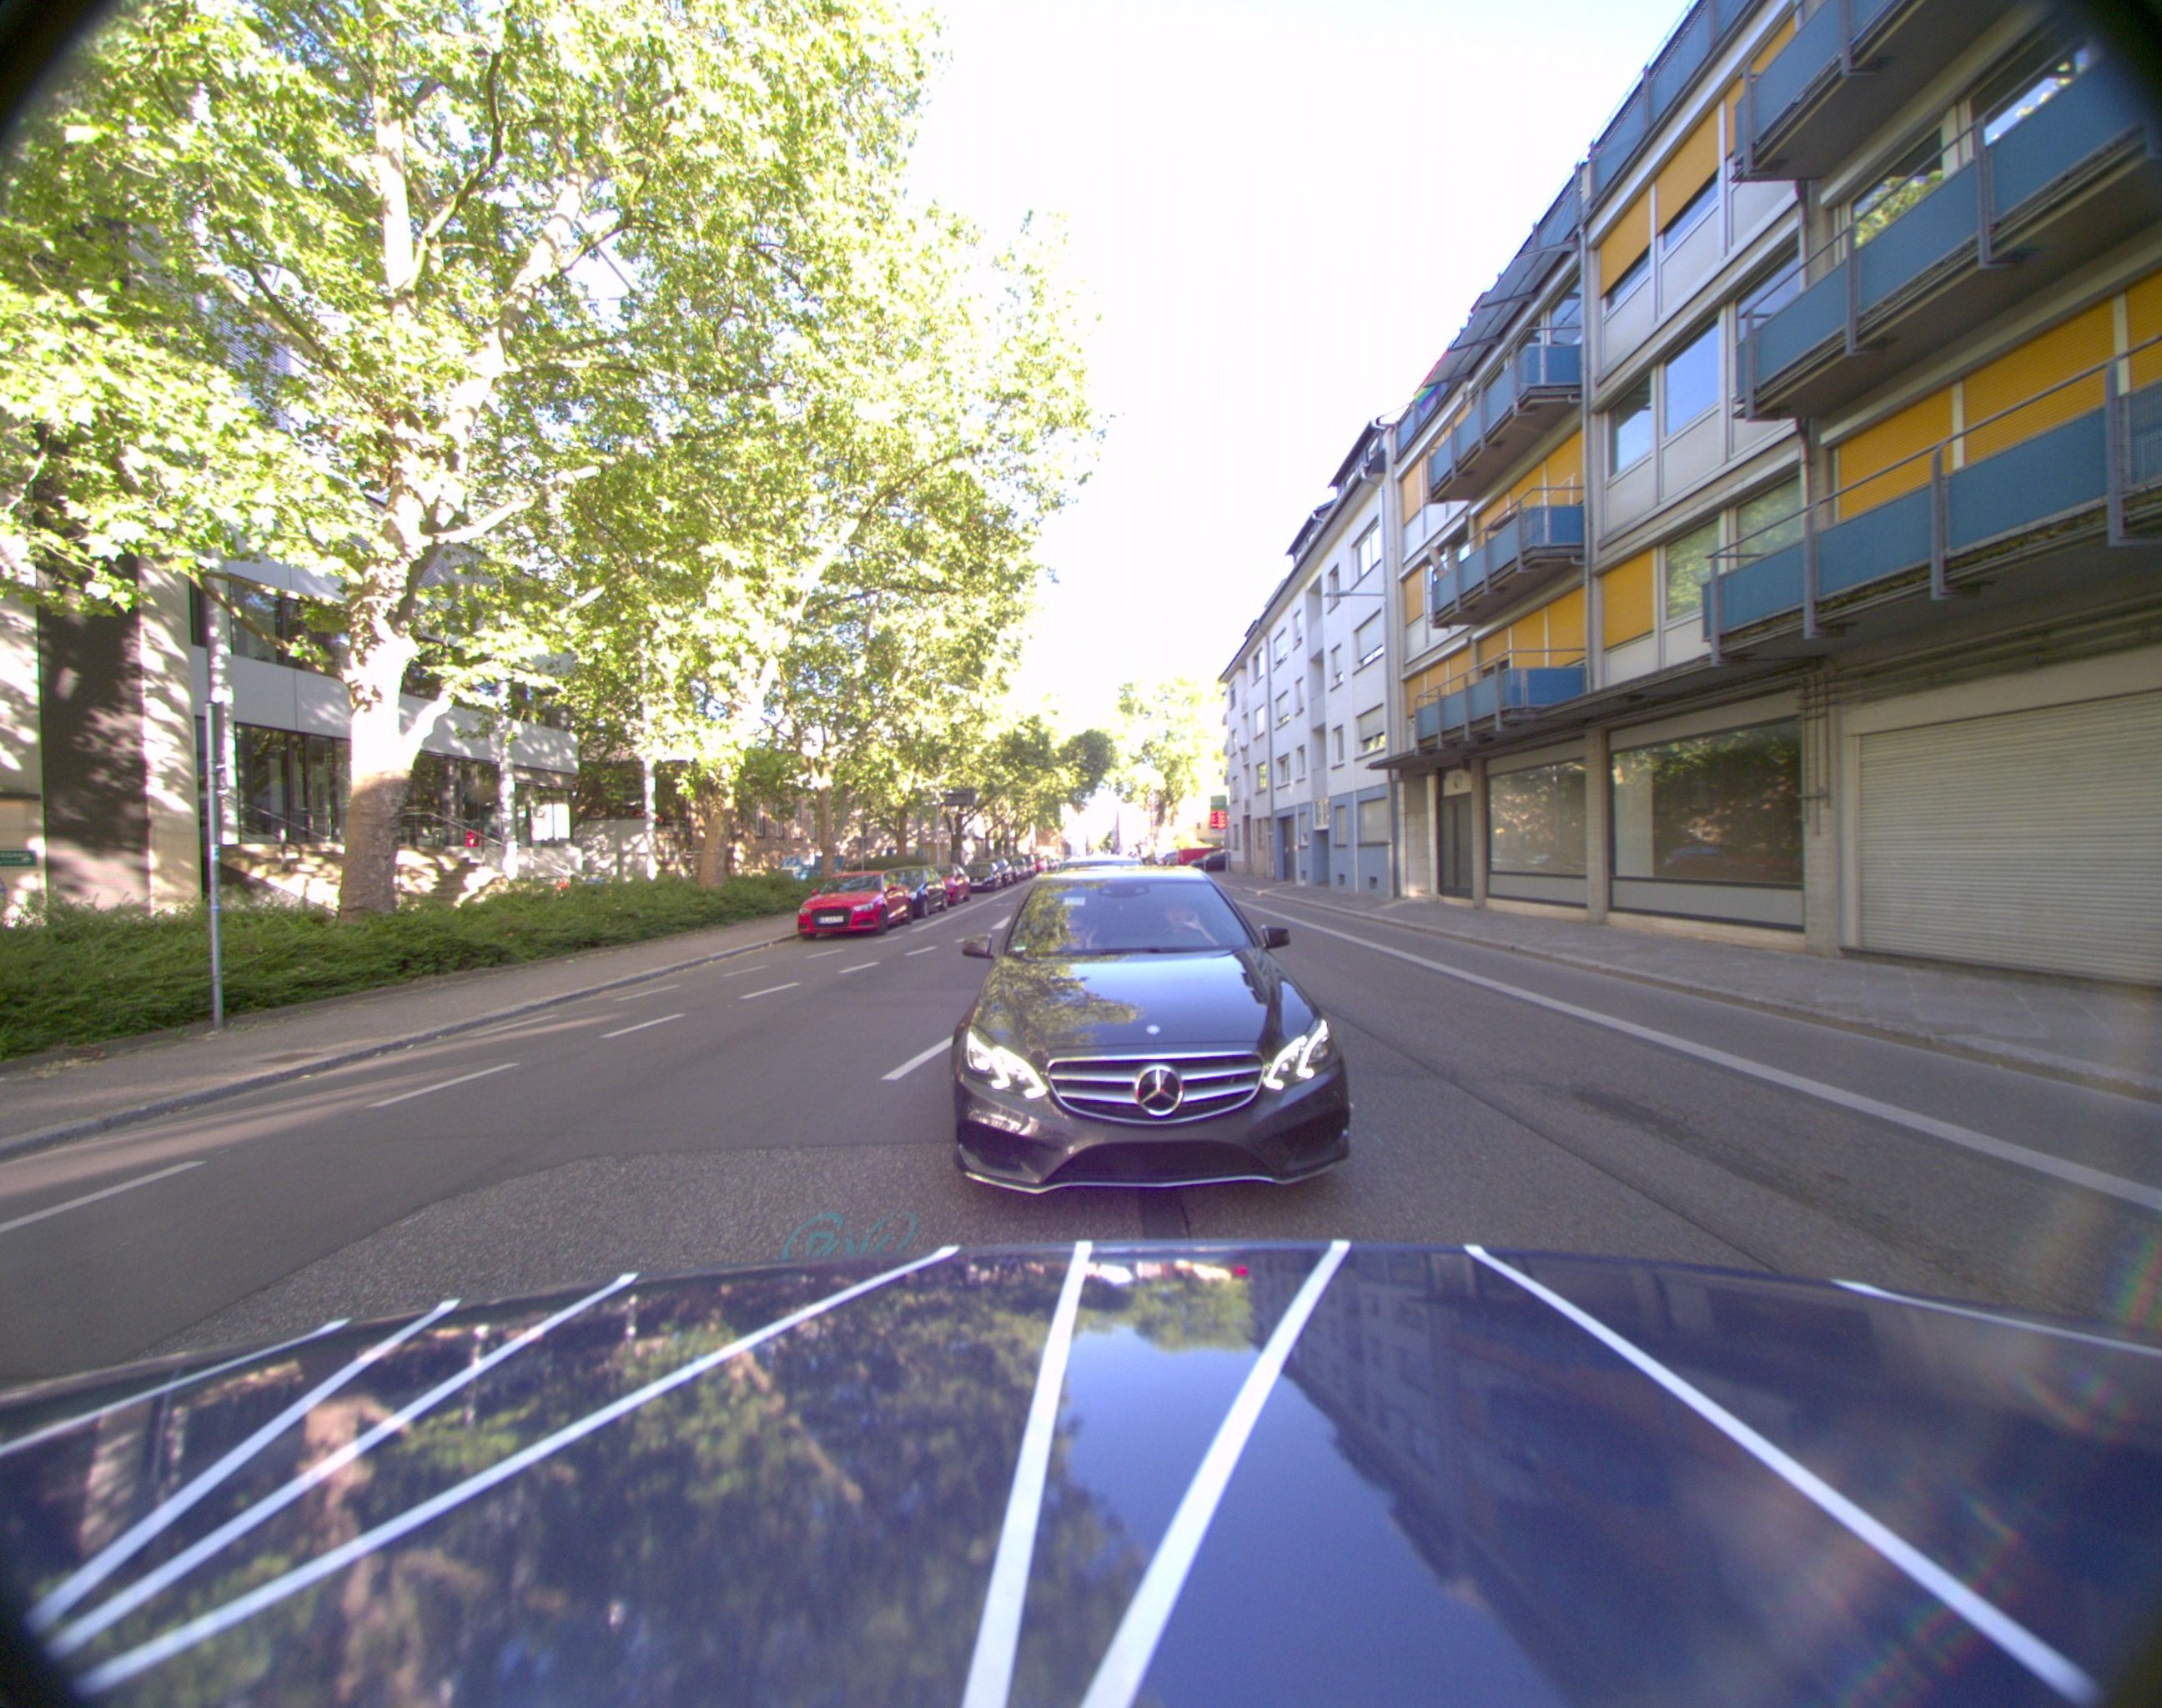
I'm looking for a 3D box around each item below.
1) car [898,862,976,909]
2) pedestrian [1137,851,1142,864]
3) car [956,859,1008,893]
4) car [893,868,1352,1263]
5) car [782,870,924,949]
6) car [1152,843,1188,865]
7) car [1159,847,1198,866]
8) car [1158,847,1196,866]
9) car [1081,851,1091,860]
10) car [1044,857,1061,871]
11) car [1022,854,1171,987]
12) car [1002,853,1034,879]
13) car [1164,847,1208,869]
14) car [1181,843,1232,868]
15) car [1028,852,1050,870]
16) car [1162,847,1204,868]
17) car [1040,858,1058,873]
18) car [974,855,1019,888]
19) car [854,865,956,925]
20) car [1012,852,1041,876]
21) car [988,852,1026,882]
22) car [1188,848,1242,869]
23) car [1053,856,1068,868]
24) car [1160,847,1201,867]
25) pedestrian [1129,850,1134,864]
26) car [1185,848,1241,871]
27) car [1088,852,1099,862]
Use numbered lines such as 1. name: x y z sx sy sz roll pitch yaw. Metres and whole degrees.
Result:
1. car: -5.088 1.061 27.428 1.866 1.442 4.481 -2 0 1
2. pedestrian: 9.139 0.577 118.717 0.735 2.002 1.046 -2 1 -1
3. car: -4.756 1.020 37.175 1.866 1.442 4.481 -2 0 1
4. car: 0.204 0.930 5.410 1.866 1.492 4.481 -2 0 1
5. car: -5.104 1.174 17.734 1.866 1.442 4.481 -2 0 1
6. car: 10.491 -0.005 89.510 3.996 2.505 2.000 -2 1 2
7. car: 10.591 0.267 82.488 3.996 1.936 2.000 -2 1 2
8. car: 10.737 0.234 84.982 3.996 1.936 2.000 -2 1 2
9. car: 1.070 0.266 154.257 1.866 1.632 4.481 -2 0 1
10. car: -3.653 1.229 96.787 1.866 1.632 4.481 -2 0 1
11. car: 0.224 0.854 11.933 1.866 1.630 4.303 -2 0 1
12. car: -4.502 0.813 54.803 1.866 1.749 4.481 -2 0 1
13. car: 10.249 0.370 74.508 3.996 1.936 2.000 -2 1 2
14. car: 10.549 0.148 64.027 3.996 1.936 2.000 -2 1 2
15. car: -4.197 0.698 76.281 1.866 1.632 4.481 -2 0 1
16. car: 10.333 0.337 77.149 3.996 1.936 2.000 -2 1 2
17. car: -3.763 1.314 89.988 1.866 1.632 4.481 -2 0 1
18. car: -4.620 0.902 42.210 1.866 1.658 4.481 -2 0 1
19. car: -5.044 1.120 22.385 1.866 1.442 4.481 -2 0 1
20. car: -4.245 0.750 59.759 1.866 1.749 4.481 -2 0 1
21. car: -4.632 0.779 48.137 1.866 1.749 4.481 -2 0 1
22. car: 10.716 0.370 61.196 3.996 1.543 2.000 -2 1 2
23. car: -2.821 1.103 105.194 1.866 1.632 4.481 -2 0 1
24. car: 10.462 0.300 80.000 3.996 1.936 2.000 -2 1 2
25. pedestrian: 7.829 0.449 117.715 0.735 2.002 0.797 -2 1 1
26. car: 10.175 0.417 58.873 3.996 1.543 2.000 -2 1 2
27. car: 2.276 0.575 134.769 1.866 1.632 4.481 -2 0 1
